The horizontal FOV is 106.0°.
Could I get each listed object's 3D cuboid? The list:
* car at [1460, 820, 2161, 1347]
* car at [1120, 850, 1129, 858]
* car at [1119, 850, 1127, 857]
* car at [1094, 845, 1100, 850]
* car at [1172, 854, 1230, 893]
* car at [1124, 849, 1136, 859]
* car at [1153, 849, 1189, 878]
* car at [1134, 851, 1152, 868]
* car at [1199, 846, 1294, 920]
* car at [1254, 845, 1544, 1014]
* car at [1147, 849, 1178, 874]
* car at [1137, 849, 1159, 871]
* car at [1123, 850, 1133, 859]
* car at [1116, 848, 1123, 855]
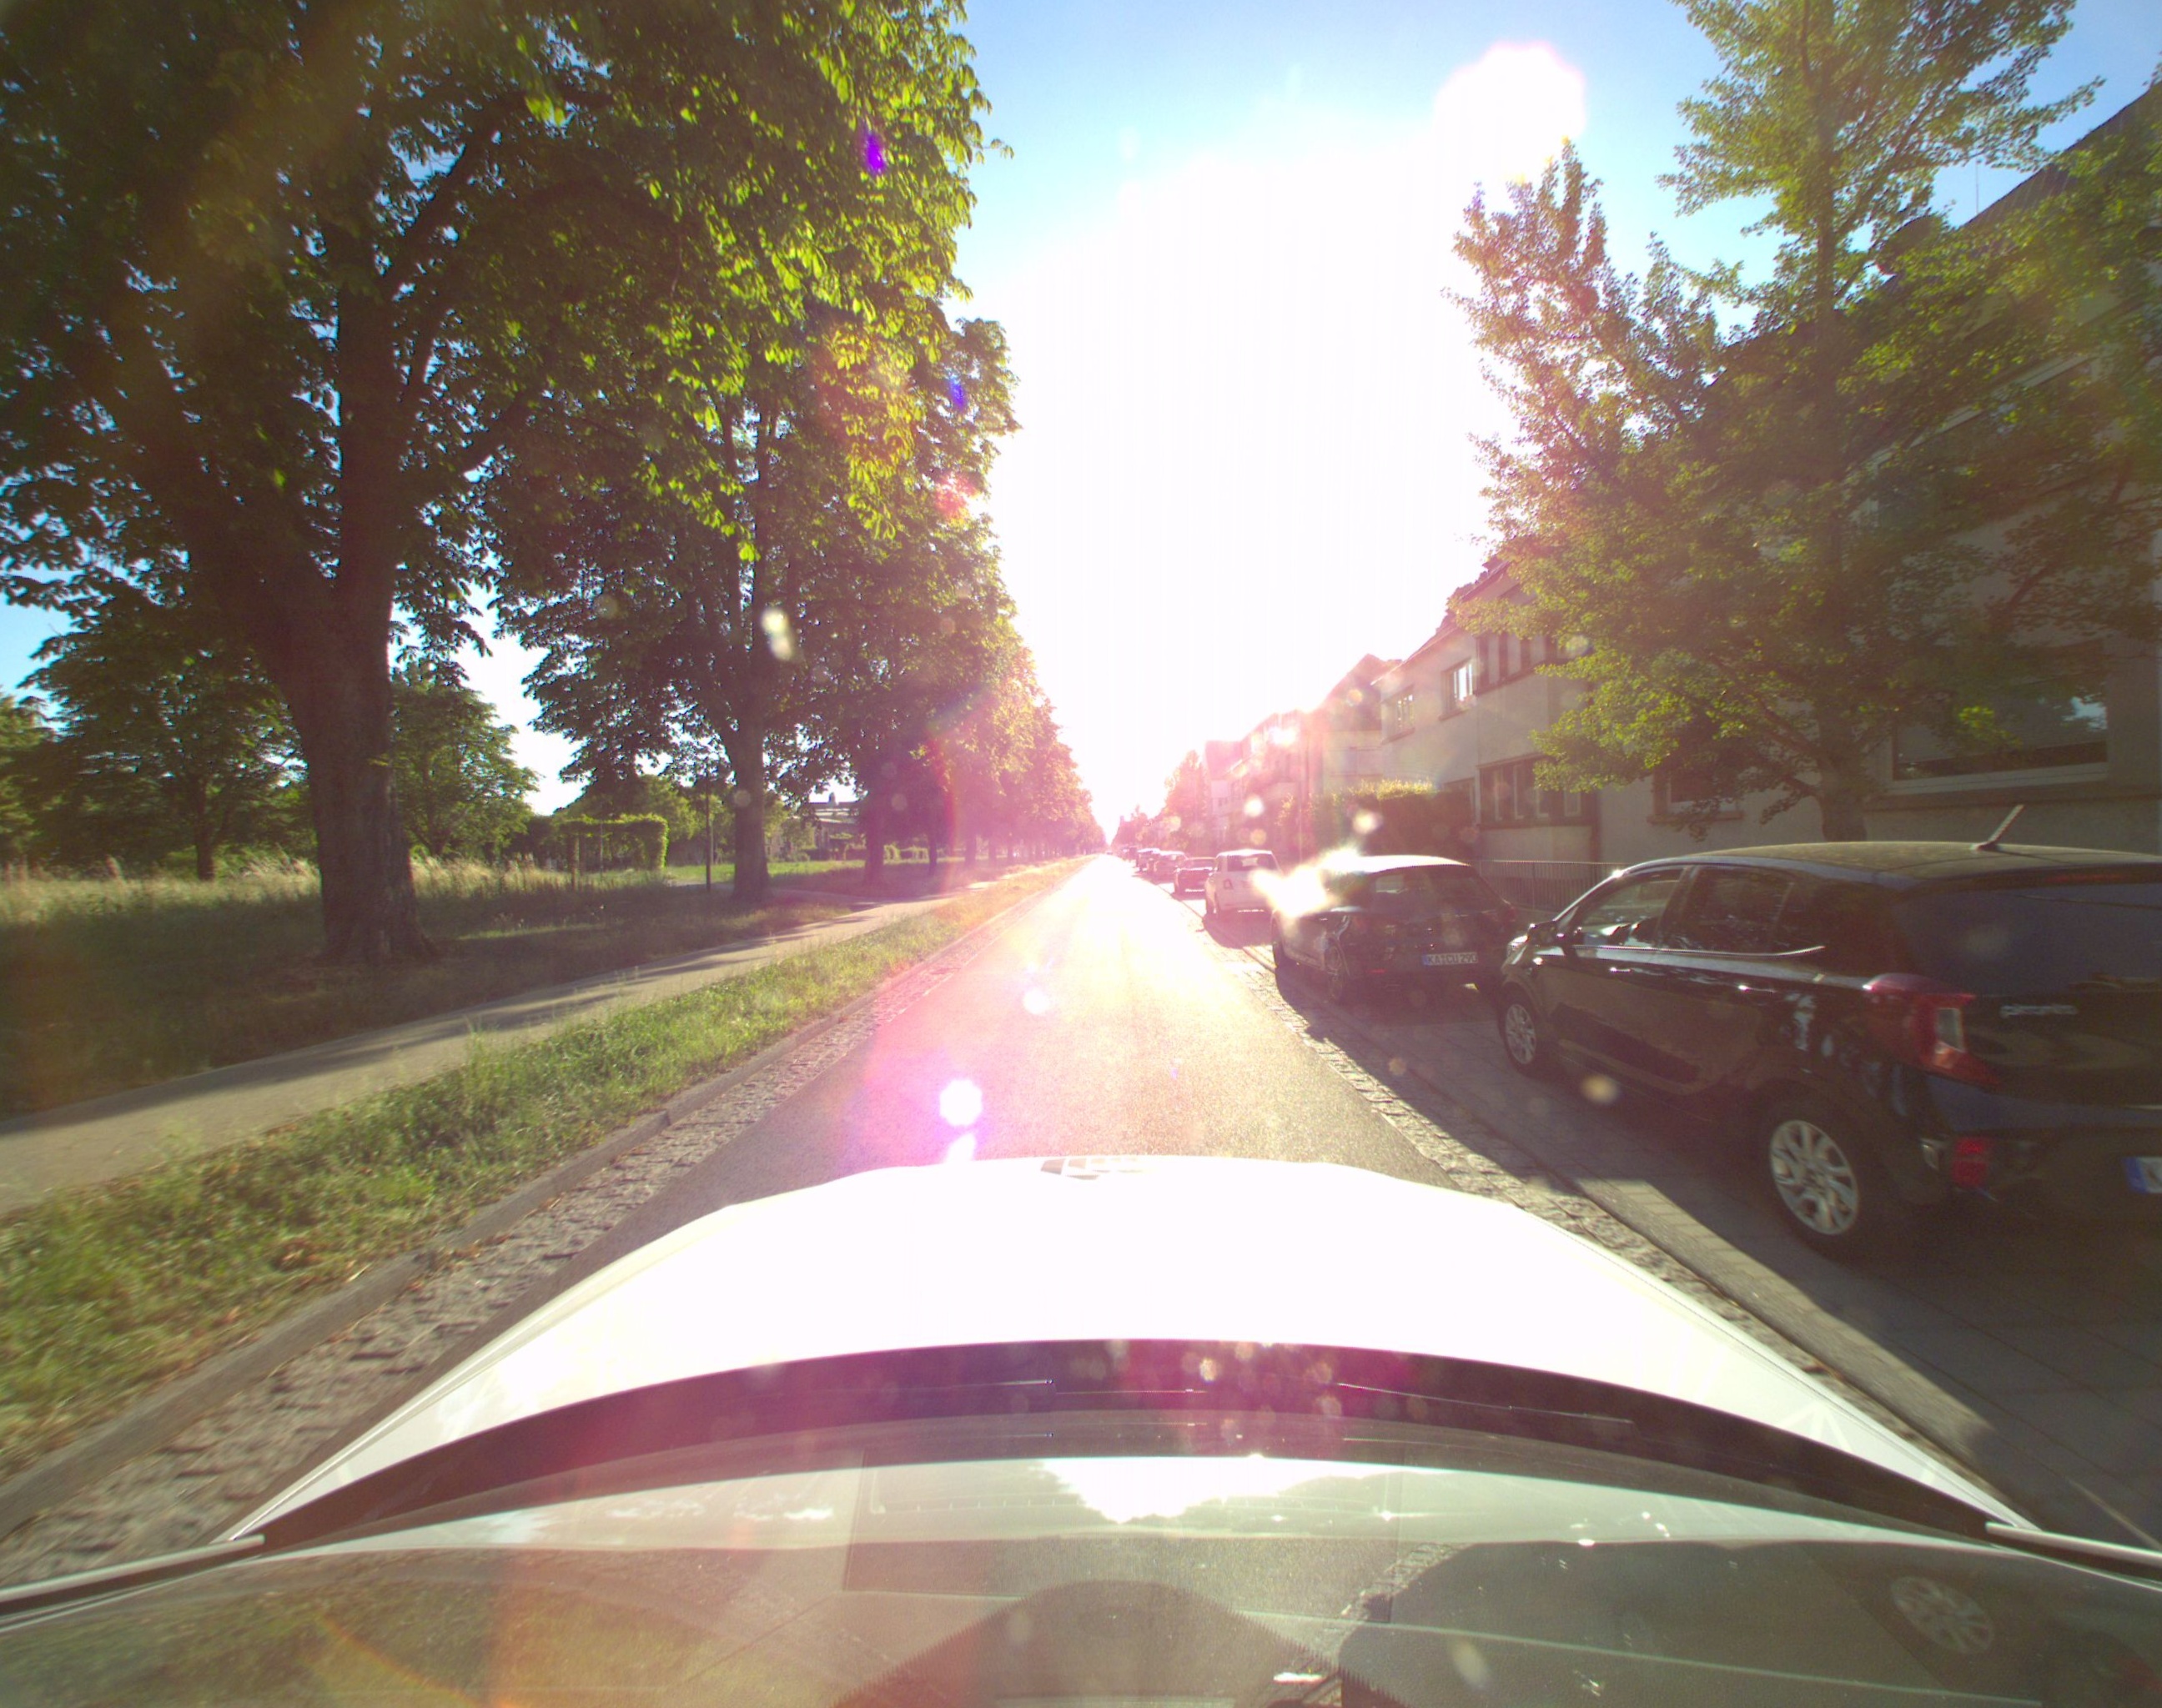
[{"bbox_3d":[3.506,0.654,4.175,1.649,1.494,3.722,-3,0,6],"label":"car"},{"bbox_3d":[8.681,-0.066,161.748,1.645,1.541,3.269,0,0,3],"label":"car"},{"bbox_3d":[8.694,-0.087,167.105,1.645,1.541,3.269,0,0,3],"label":"car"},{"bbox_3d":[4.722,-1.833,233.113,1.646,1.541,3.268,0,0,2],"label":"car"},{"bbox_3d":[4.166,0.651,28.787,1.686,1.248,3.500,-2,0,3],"label":"car"},{"bbox_3d":[7.384,-0.006,122.965,1.645,1.541,3.269,0,0,3],"label":"car"},{"bbox_3d":[4.629,0.481,42.366,1.645,1.396,3.269,-2,0,3],"label":"car"},{"bbox_3d":[5.623,0.461,73.999,1.587,1.434,3.269,-2,0,3],"label":"car"},{"bbox_3d":[3.713,0.600,18.827,1.586,1.510,3.594,-2,0,3],"label":"car"},{"bbox_3d":[3.334,0.694,9.490,1.731,1.449,4.197,-3,0,1],"label":"car"},{"bbox_3d":[4.921,0.436,49.450,1.645,1.396,3.269,-2,0,3],"label":"car"},{"bbox_3d":[4.996,0.402,60.964,1.492,1.567,3.269,-2,0,3],"label":"car"},{"bbox_3d":[7.734,0.092,135.187,1.645,1.541,3.269,0,0,3],"label":"car"},{"bbox_3d":[9.052,-0.522,192.010,1.646,1.541,3.268,0,0,2],"label":"car"}]
